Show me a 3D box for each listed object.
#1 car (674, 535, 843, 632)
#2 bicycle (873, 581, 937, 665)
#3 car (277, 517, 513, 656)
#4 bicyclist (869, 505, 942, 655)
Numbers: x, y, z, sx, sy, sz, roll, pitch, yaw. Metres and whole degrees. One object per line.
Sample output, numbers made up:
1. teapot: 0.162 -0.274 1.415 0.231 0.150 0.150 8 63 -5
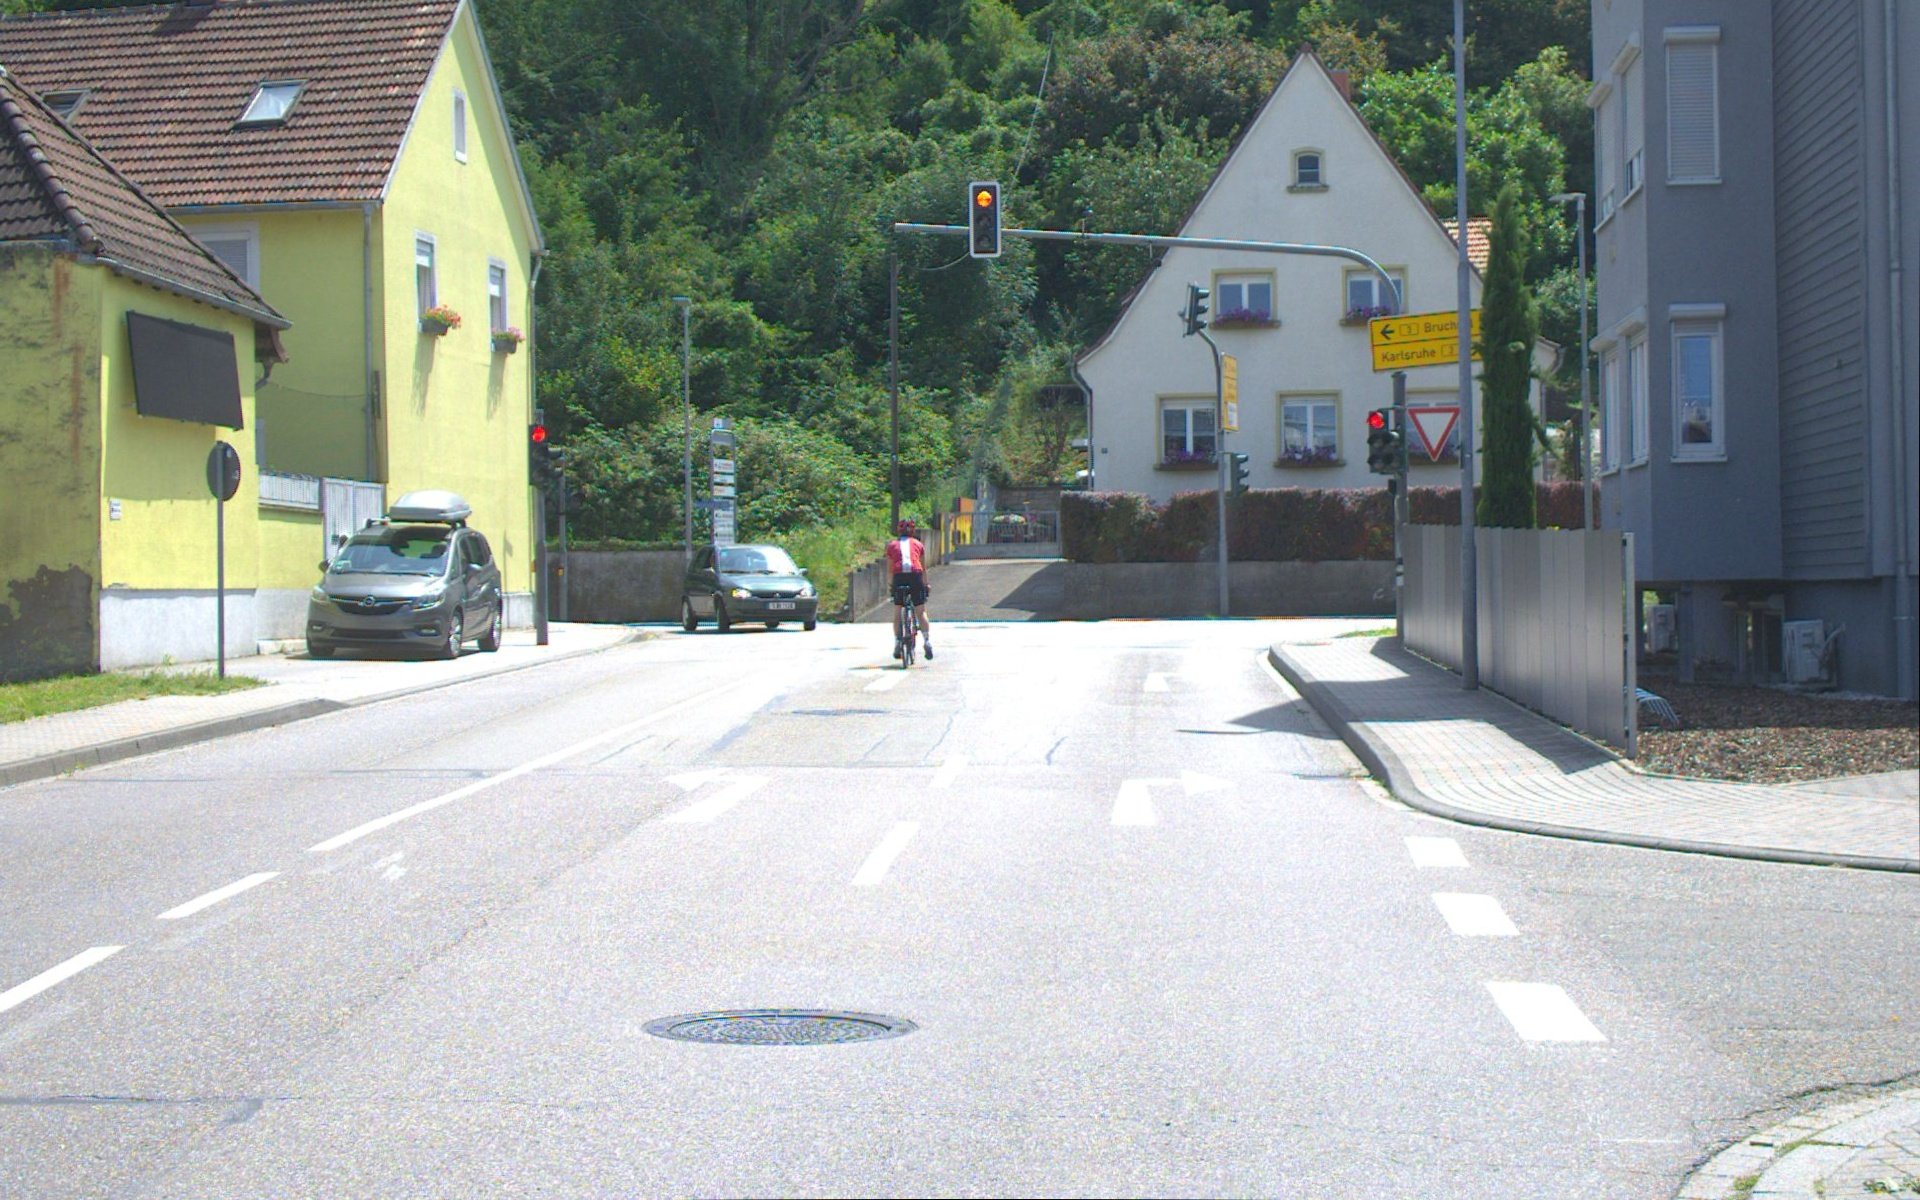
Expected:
1. car: -3.277 -0.273 55.184 1.780 1.428 3.873 -2 1 -17
2. bicycle: -0.611 0.252 38.931 0.630 0.902 1.657 1 1 2
3. car: -7.095 -0.205 43.620 1.994 1.630 4.630 1 1 3
4. bicyclist: -0.612 -0.232 38.796 0.761 1.659 0.868 1 1 2
